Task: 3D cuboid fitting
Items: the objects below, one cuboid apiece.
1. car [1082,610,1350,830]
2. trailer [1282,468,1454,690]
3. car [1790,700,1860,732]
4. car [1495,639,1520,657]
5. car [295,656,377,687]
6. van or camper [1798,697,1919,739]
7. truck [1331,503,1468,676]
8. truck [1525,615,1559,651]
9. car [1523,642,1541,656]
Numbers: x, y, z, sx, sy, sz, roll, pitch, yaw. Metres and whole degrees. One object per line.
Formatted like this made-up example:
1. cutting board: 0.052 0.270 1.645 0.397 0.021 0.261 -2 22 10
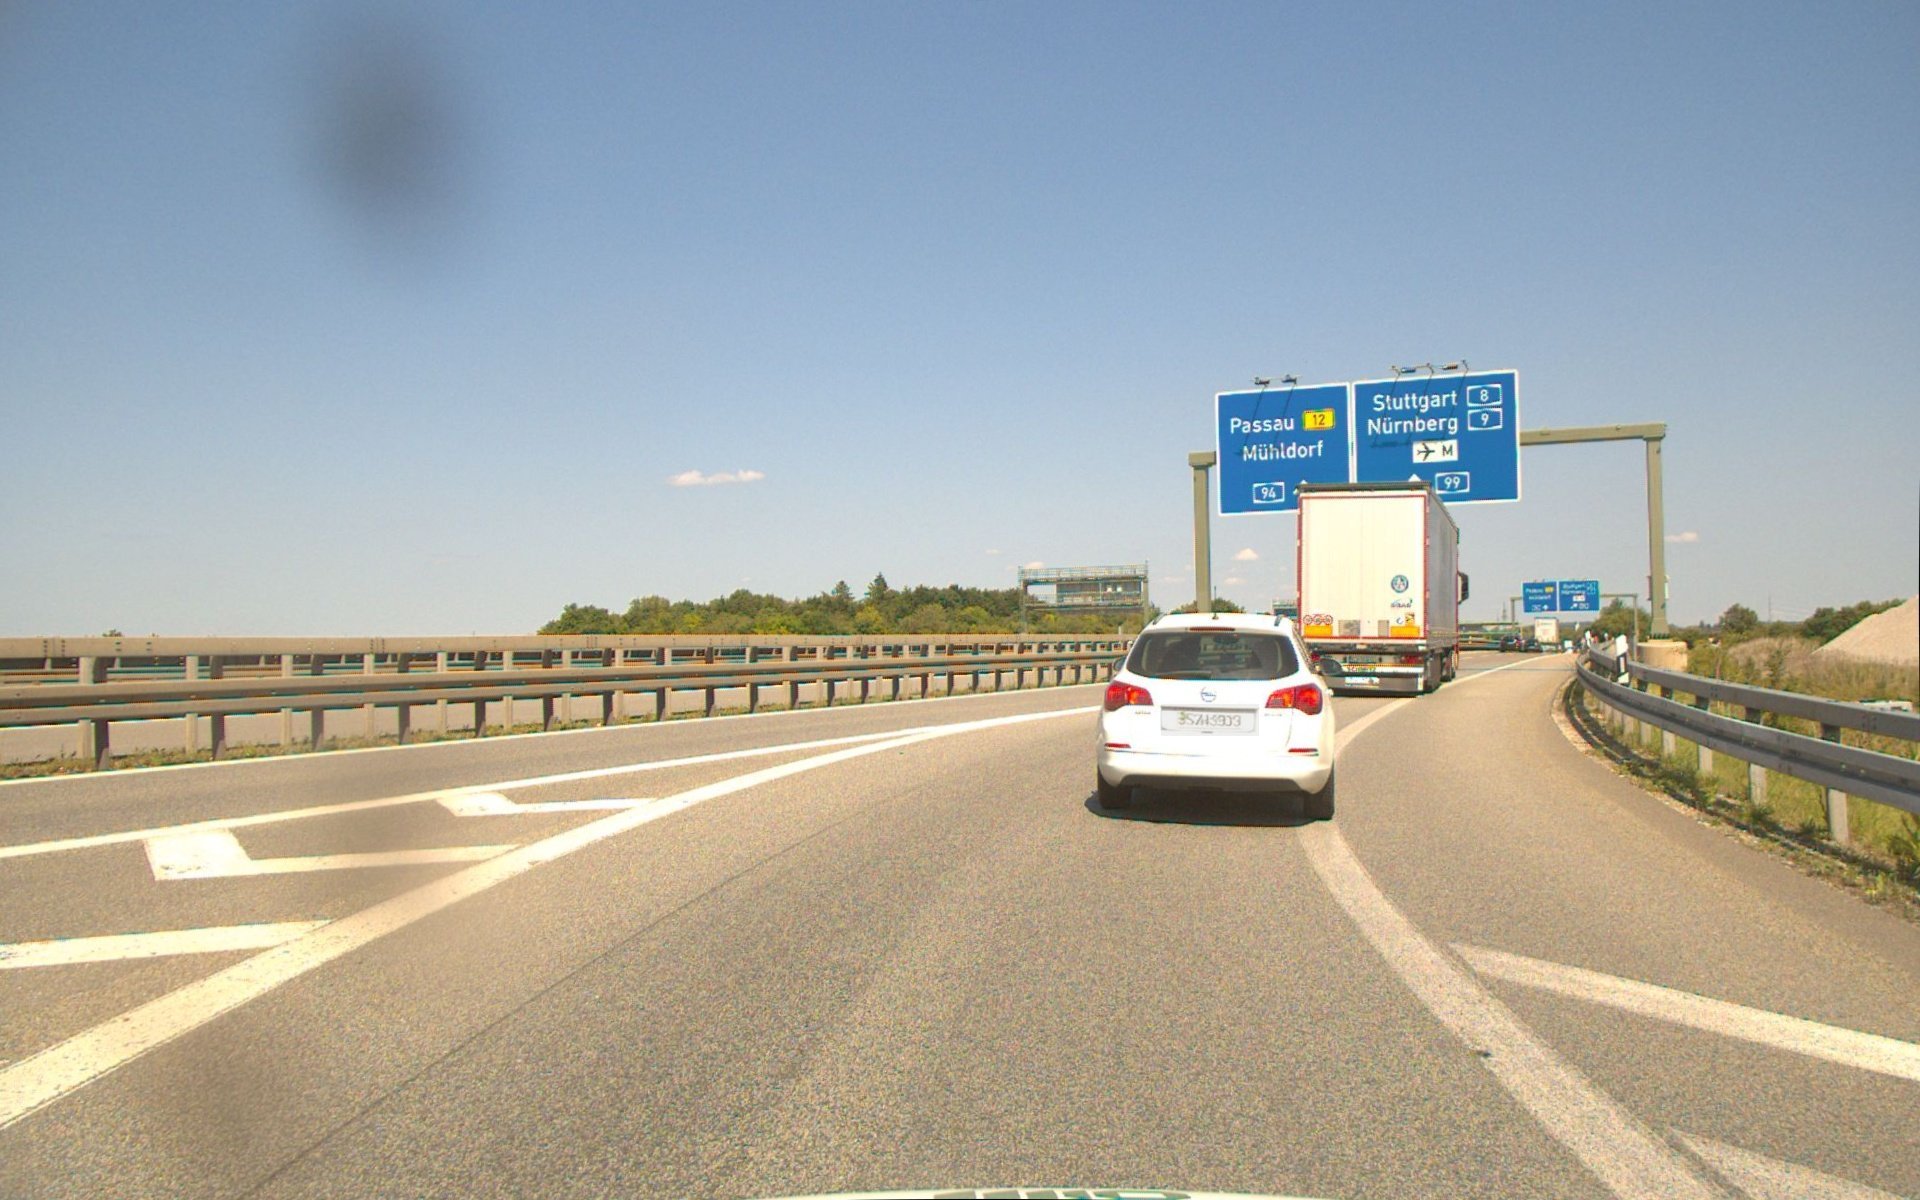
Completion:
1. car: 2.180 0.858 13.554 1.814 1.468 4.375 1 -1 11
2. trailer: 9.424 -0.182 37.151 2.851 4.218 11.260 0 -2 18
3. car: 59.988 8.078 114.743 3.902 2.049 1.878 1 -6 8
4. car: 45.780 4.004 138.203 1.620 1.405 3.998 2 -1 23
5. car: -29.687 3.418 78.779 1.590 1.381 3.615 -2 -4 23
6. van or camper: 68.472 9.008 125.664 7.959 3.048 2.986 -2 -5 12
7. truck: 11.793 -0.128 43.937 2.852 4.218 6.925 0 -2 20
8. truck: 72.763 4.173 206.695 3.467 4.218 11.255 2 -1 21
9. car: 64.019 5.496 185.185 1.620 1.405 3.998 2 -1 23
